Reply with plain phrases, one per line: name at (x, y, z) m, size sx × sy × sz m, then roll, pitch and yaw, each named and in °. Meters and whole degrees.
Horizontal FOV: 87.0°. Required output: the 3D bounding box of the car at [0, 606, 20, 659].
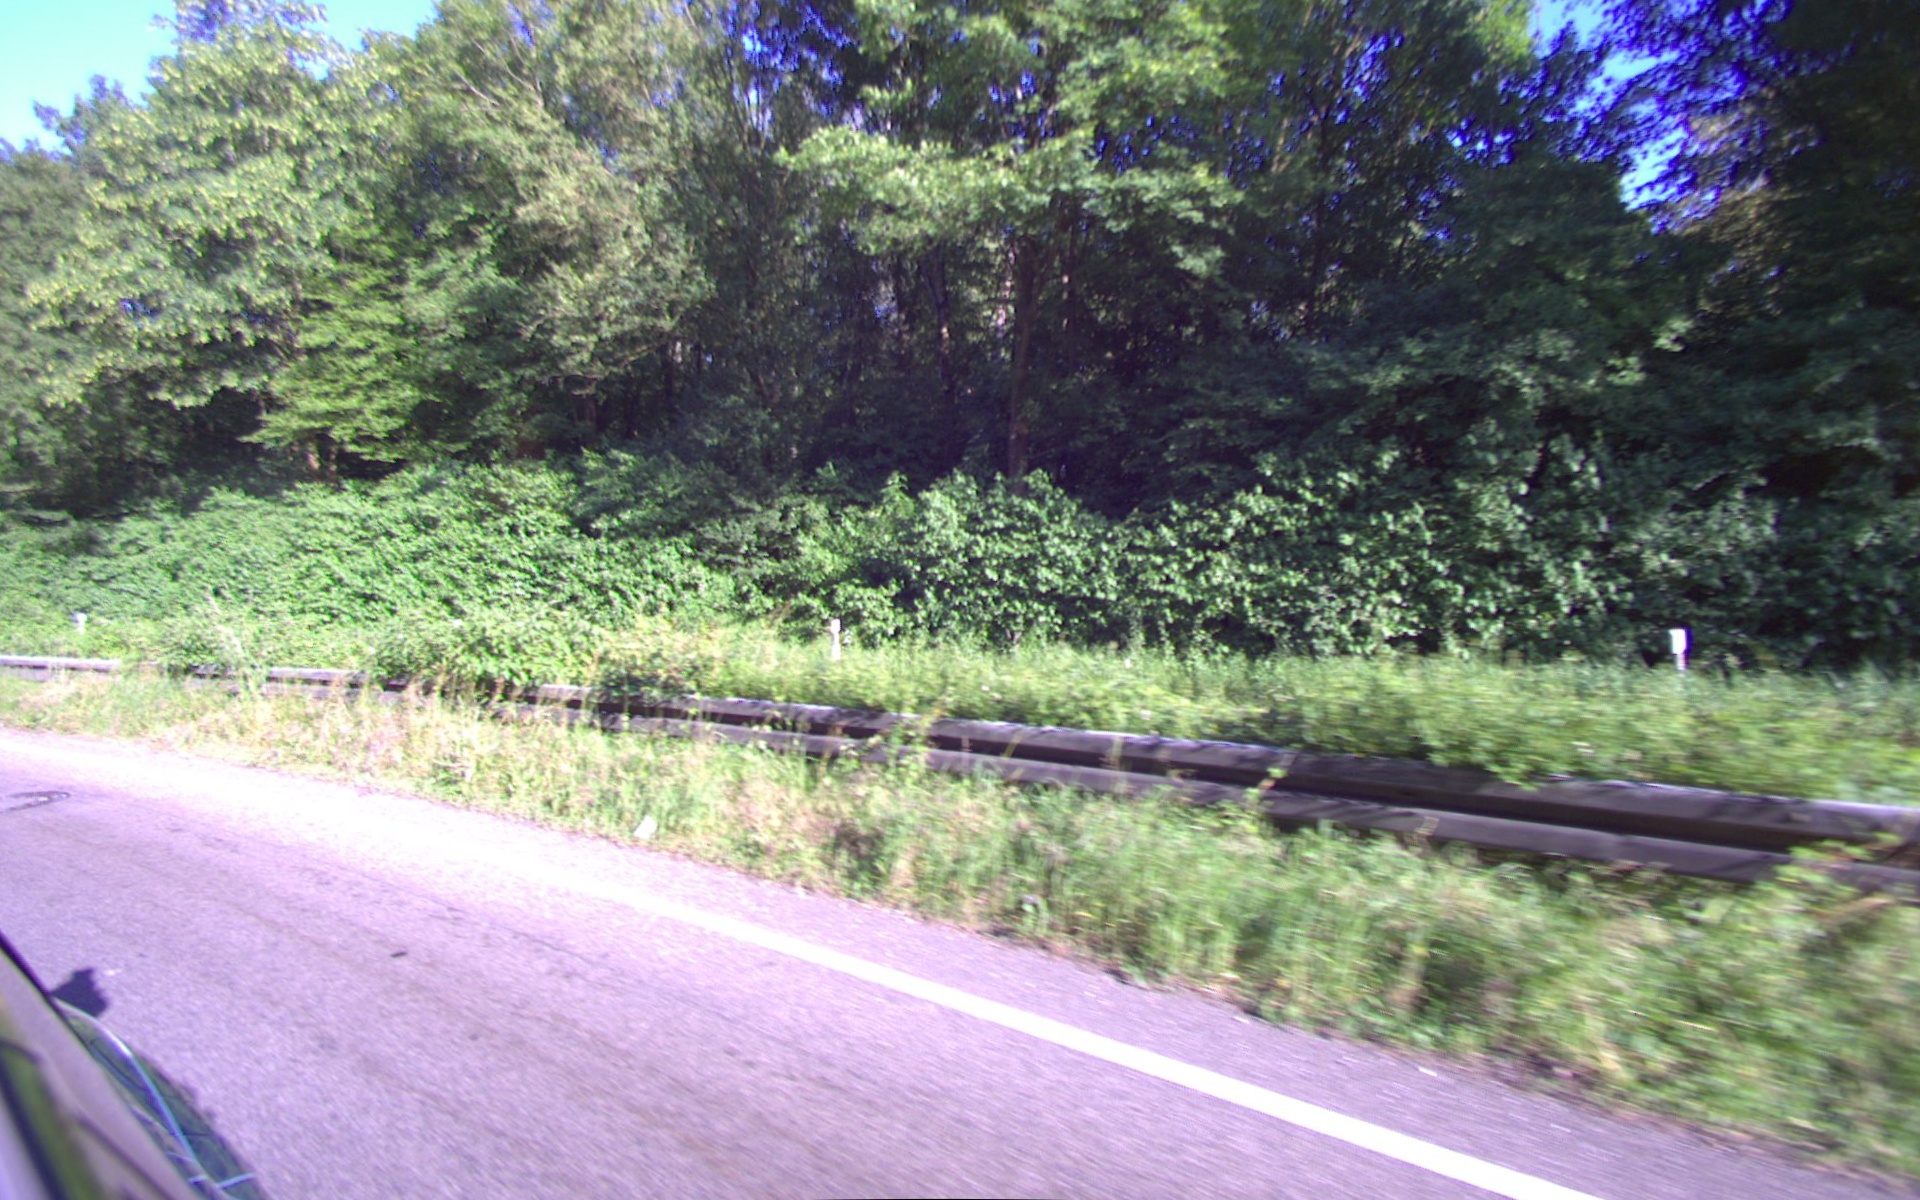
car at (-29.189, 0.942, 29.476) m, size 3.987 × 1.498 × 1.708 m, roll 0°, pitch -1°, yaw 32°
